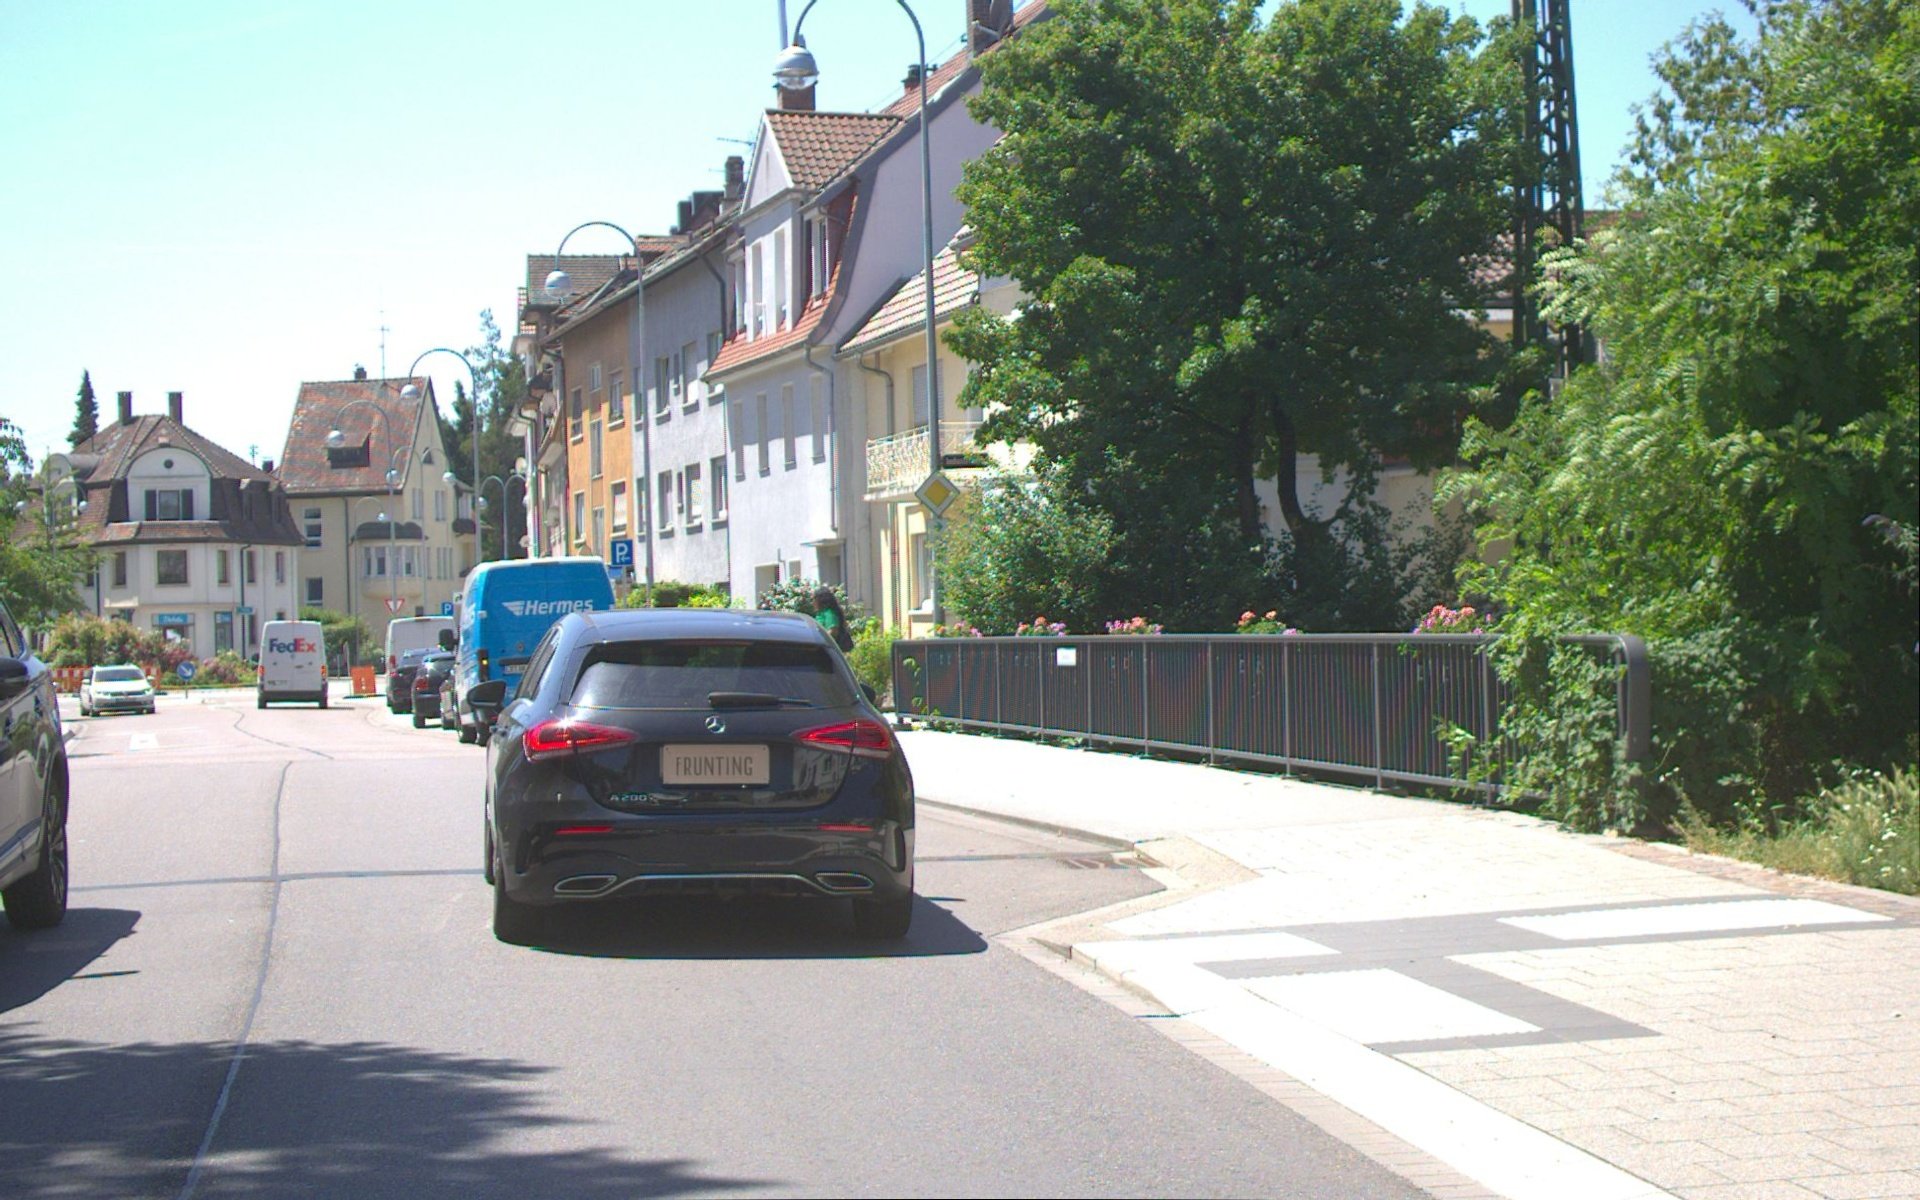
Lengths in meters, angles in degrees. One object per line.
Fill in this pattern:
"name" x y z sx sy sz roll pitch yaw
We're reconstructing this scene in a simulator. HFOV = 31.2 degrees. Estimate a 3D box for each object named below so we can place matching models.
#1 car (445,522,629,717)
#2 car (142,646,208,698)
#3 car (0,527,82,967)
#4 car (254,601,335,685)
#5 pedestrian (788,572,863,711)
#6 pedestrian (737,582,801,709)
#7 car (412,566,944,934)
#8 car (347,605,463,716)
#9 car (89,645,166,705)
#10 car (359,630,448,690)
"car" -5.921 0.272 47.672 2.132 2.533 4.650 -1 0 -11
"car" -25.830 2.358 113.182 1.993 1.654 4.001 1 -1 -12
"car" -4.794 0.623 14.054 1.740 1.766 4.339 -3 1 -7
"car" -19.665 1.248 101.521 2.244 2.335 4.854 -1 1 -12
"pedestrian" -1.708 0.521 43.496 0.660 1.735 0.702 -1 -1 -29
"pedestrian" -2.467 0.584 44.317 0.613 1.607 0.838 -1 0 -16
"car" -1.448 0.697 15.975 1.827 1.437 4.000 -1 -3 -14
"car" -10.845 1.144 67.015 1.993 2.007 4.001 -1 1 -12
"car" -24.026 2.153 99.316 1.993 1.654 4.001 1 -1 -12
"car" -14.271 1.520 88.036 1.993 1.387 4.330 -1 1 -12
